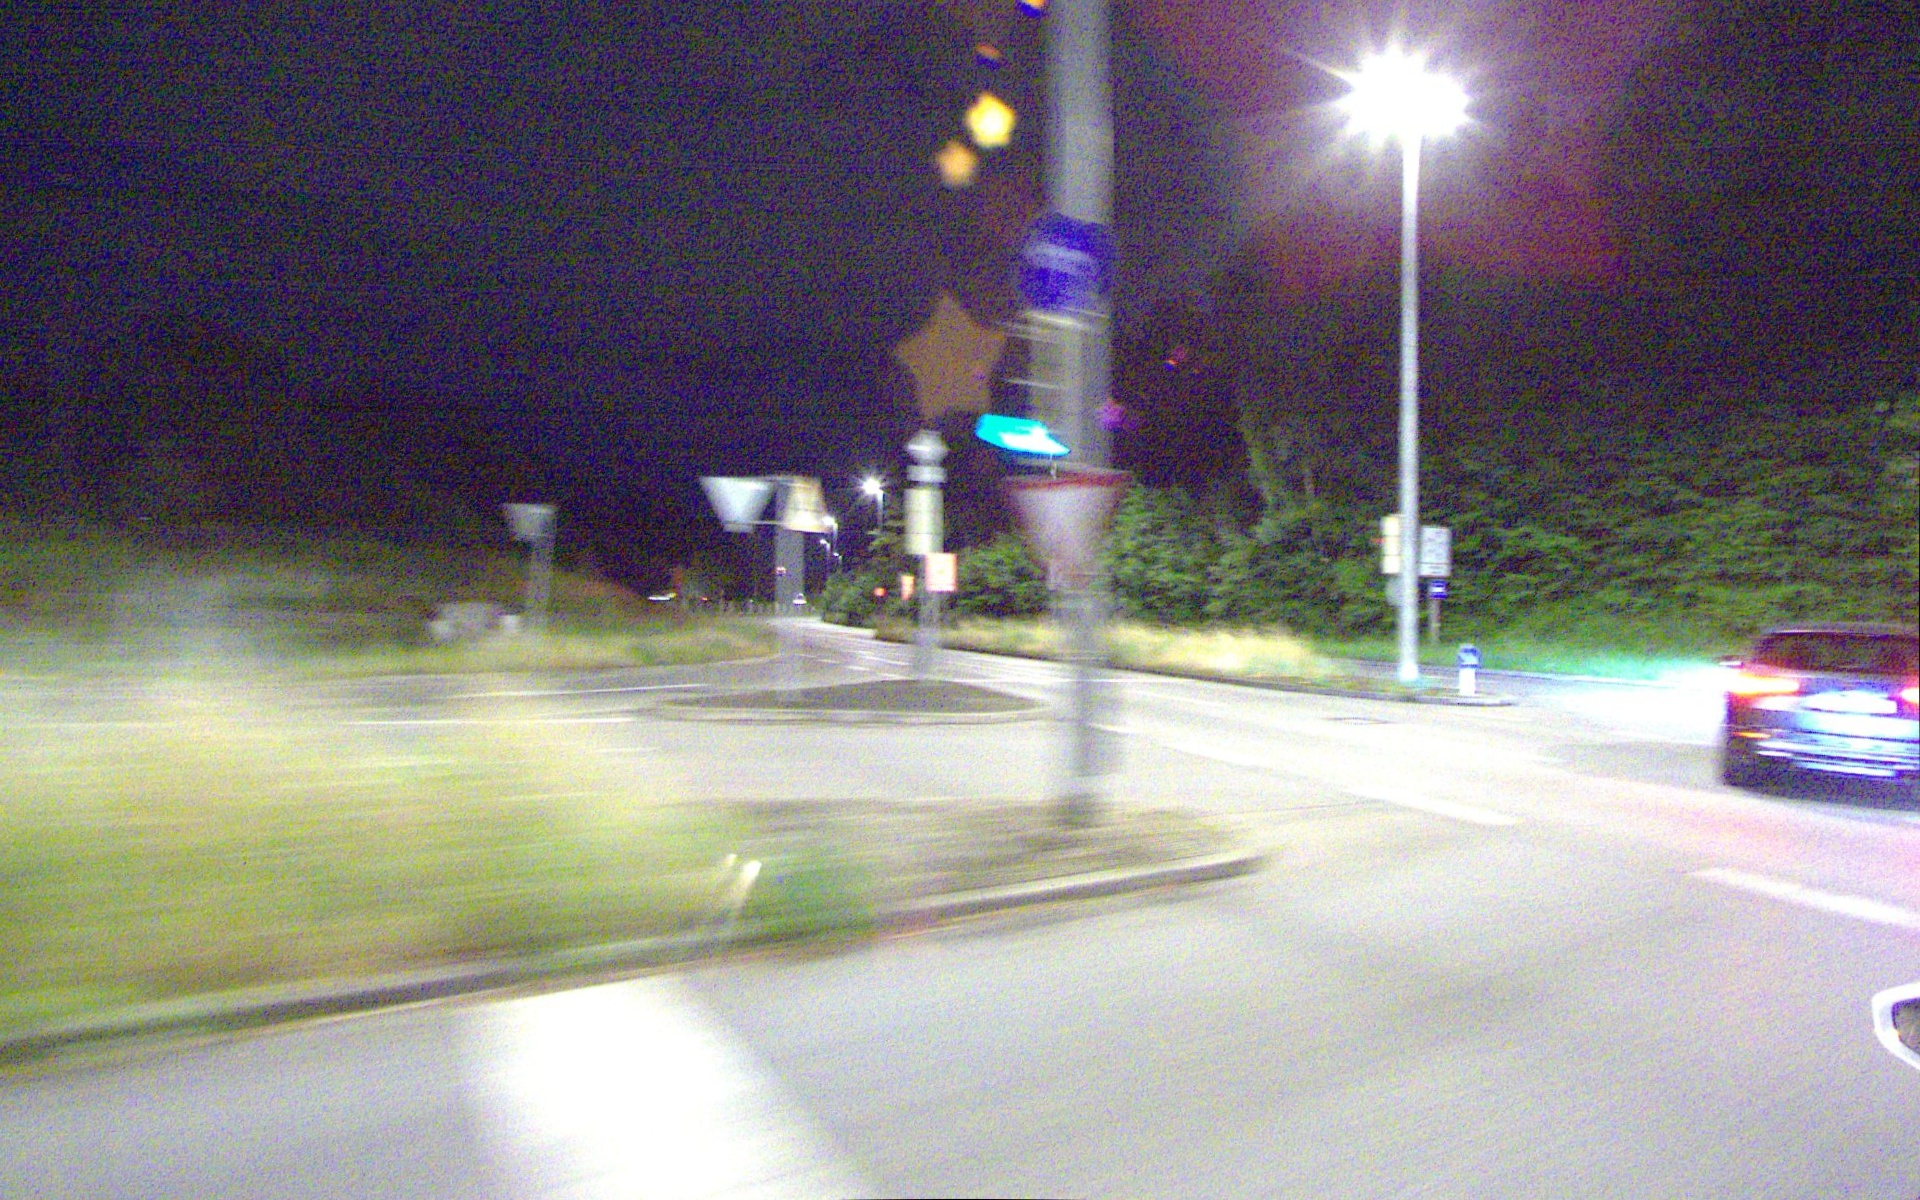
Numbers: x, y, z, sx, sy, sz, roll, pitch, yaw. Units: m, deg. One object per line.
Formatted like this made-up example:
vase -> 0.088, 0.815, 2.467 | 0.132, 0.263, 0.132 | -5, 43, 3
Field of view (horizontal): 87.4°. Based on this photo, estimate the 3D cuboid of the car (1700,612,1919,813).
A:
car -> 8.814, 0.970, 10.019 | 1.832, 1.603, 3.984 | 1, 0, 43
